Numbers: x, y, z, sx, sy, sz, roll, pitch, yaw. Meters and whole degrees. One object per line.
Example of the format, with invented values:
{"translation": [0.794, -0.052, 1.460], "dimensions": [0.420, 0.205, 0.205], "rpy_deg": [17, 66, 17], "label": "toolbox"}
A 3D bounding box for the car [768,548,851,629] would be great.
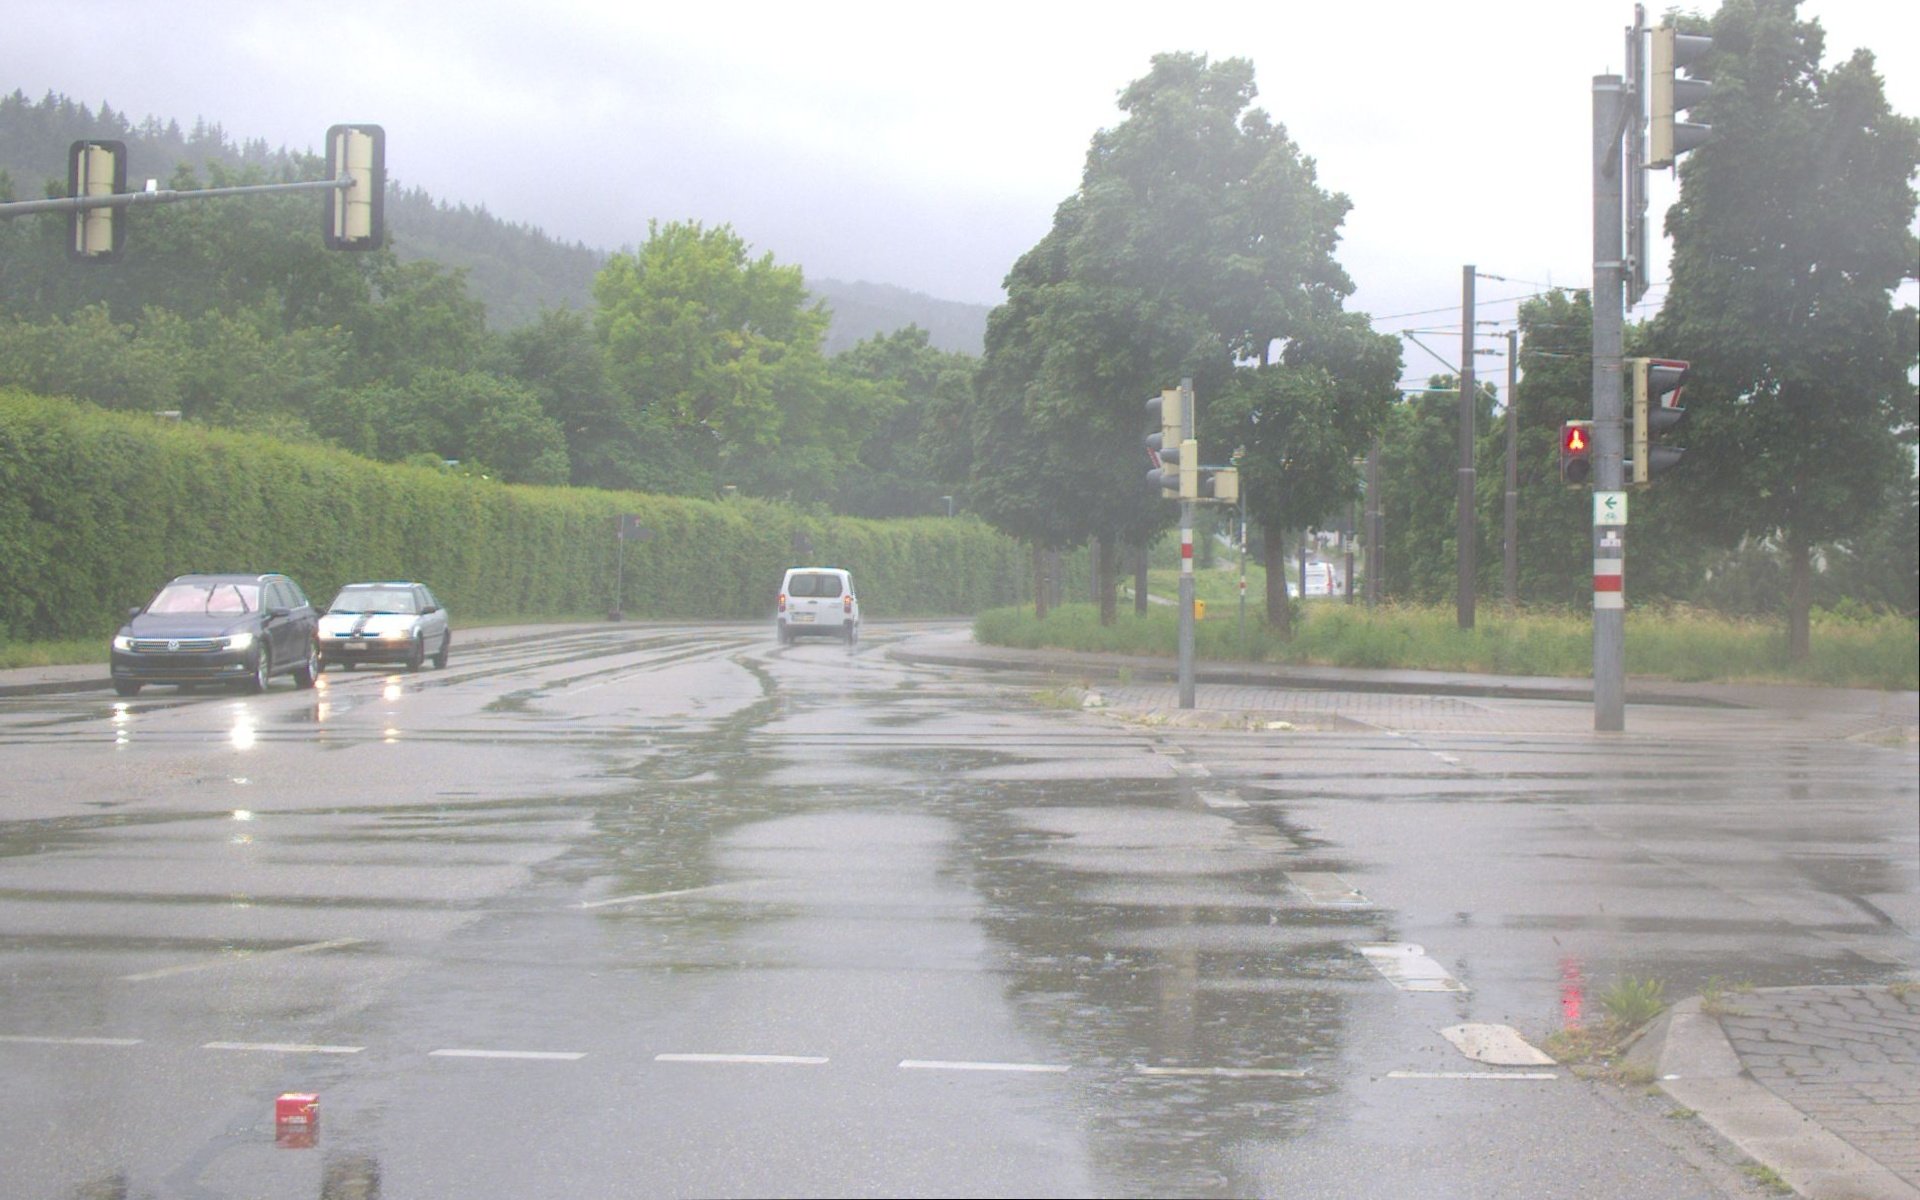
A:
{"translation": [-3.630, -0.301, 82.773], "dimensions": [1.953, 1.897, 4.120], "rpy_deg": [0, 1, -2], "label": "car"}

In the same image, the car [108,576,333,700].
{"translation": [-9.280, 0.441, 43.459], "dimensions": [1.709, 1.461, 4.452], "rpy_deg": [0, 1, 3], "label": "car"}

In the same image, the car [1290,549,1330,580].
{"translation": [21.891, -2.212, 214.777], "dimensions": [1.933, 1.883, 4.059], "rpy_deg": [0, 1, 14], "label": "car"}

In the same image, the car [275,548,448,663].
{"translation": [-9.350, 0.054, 54.000], "dimensions": [2.036, 1.702, 4.066], "rpy_deg": [1, 1, -1], "label": "car"}
